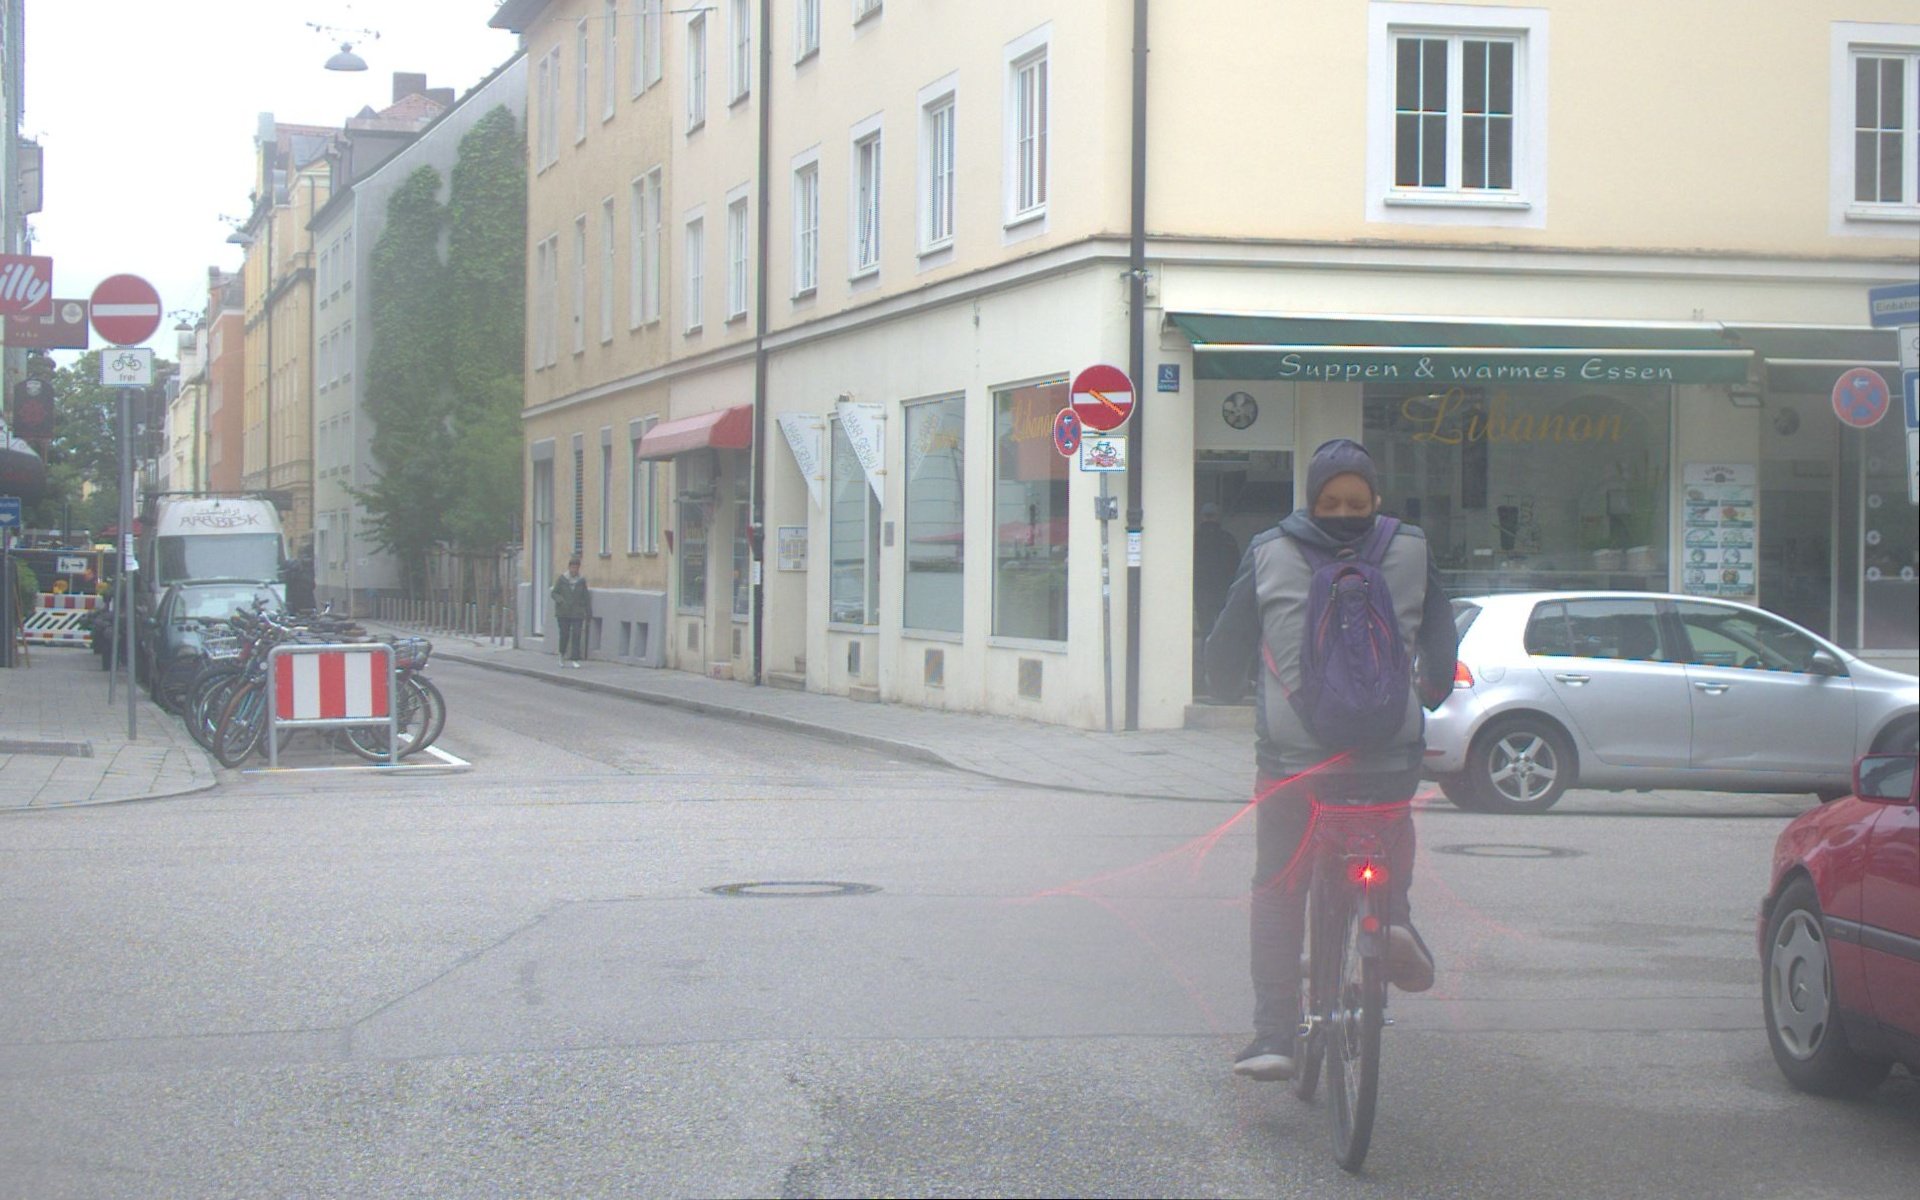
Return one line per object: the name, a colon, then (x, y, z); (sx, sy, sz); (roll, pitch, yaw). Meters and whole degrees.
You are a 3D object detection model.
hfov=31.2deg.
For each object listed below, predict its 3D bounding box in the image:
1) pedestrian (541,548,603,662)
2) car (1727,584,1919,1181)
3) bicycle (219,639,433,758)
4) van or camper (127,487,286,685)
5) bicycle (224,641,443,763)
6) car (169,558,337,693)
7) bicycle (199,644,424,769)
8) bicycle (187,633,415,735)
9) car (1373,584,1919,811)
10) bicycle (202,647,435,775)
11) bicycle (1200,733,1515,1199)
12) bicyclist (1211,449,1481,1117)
pedestrian: (-6.063, 0.074, 53.639); (0.877, 1.772, 0.774); (0, 1, -13)
car: (3.196, 0.720, 8.074); (1.669, 1.430, 4.214); (1, 1, -2)
bicycle: (-5.379, 0.824, 29.172); (1.735, 0.965, 0.543); (0, 1, -17)
van or camper: (-10.197, -0.215, 46.542); (1.993, 2.531, 4.762); (0, 1, -12)
bicycle: (-5.207, 0.840, 28.568); (1.735, 0.965, 0.543); (0, 1, -17)
car: (-8.486, 0.264, 41.057); (1.832, 1.530, 4.001); (0, 1, -14)
bicycle: (-5.255, 0.852, 27.852); (1.735, 0.965, 0.543); (0, 1, -17)
bicycle: (-5.804, 0.731, 30.290); (1.910, 0.860, 0.619); (0, 1, -18)
car: (4.844, 0.667, 22.744); (3.987, 1.411, 1.820); (1, -3, 0)
bicycle: (-5.073, 0.865, 27.188); (1.754, 0.965, 0.595); (0, 1, -17)
bicycle: (0.953, 0.872, 8.562); (0.639, 1.001, 1.574); (0, 1, 2)
bicyclist: (0.951, 0.431, 8.610); (0.606, 1.601, 0.757); (0, 1, 1)
